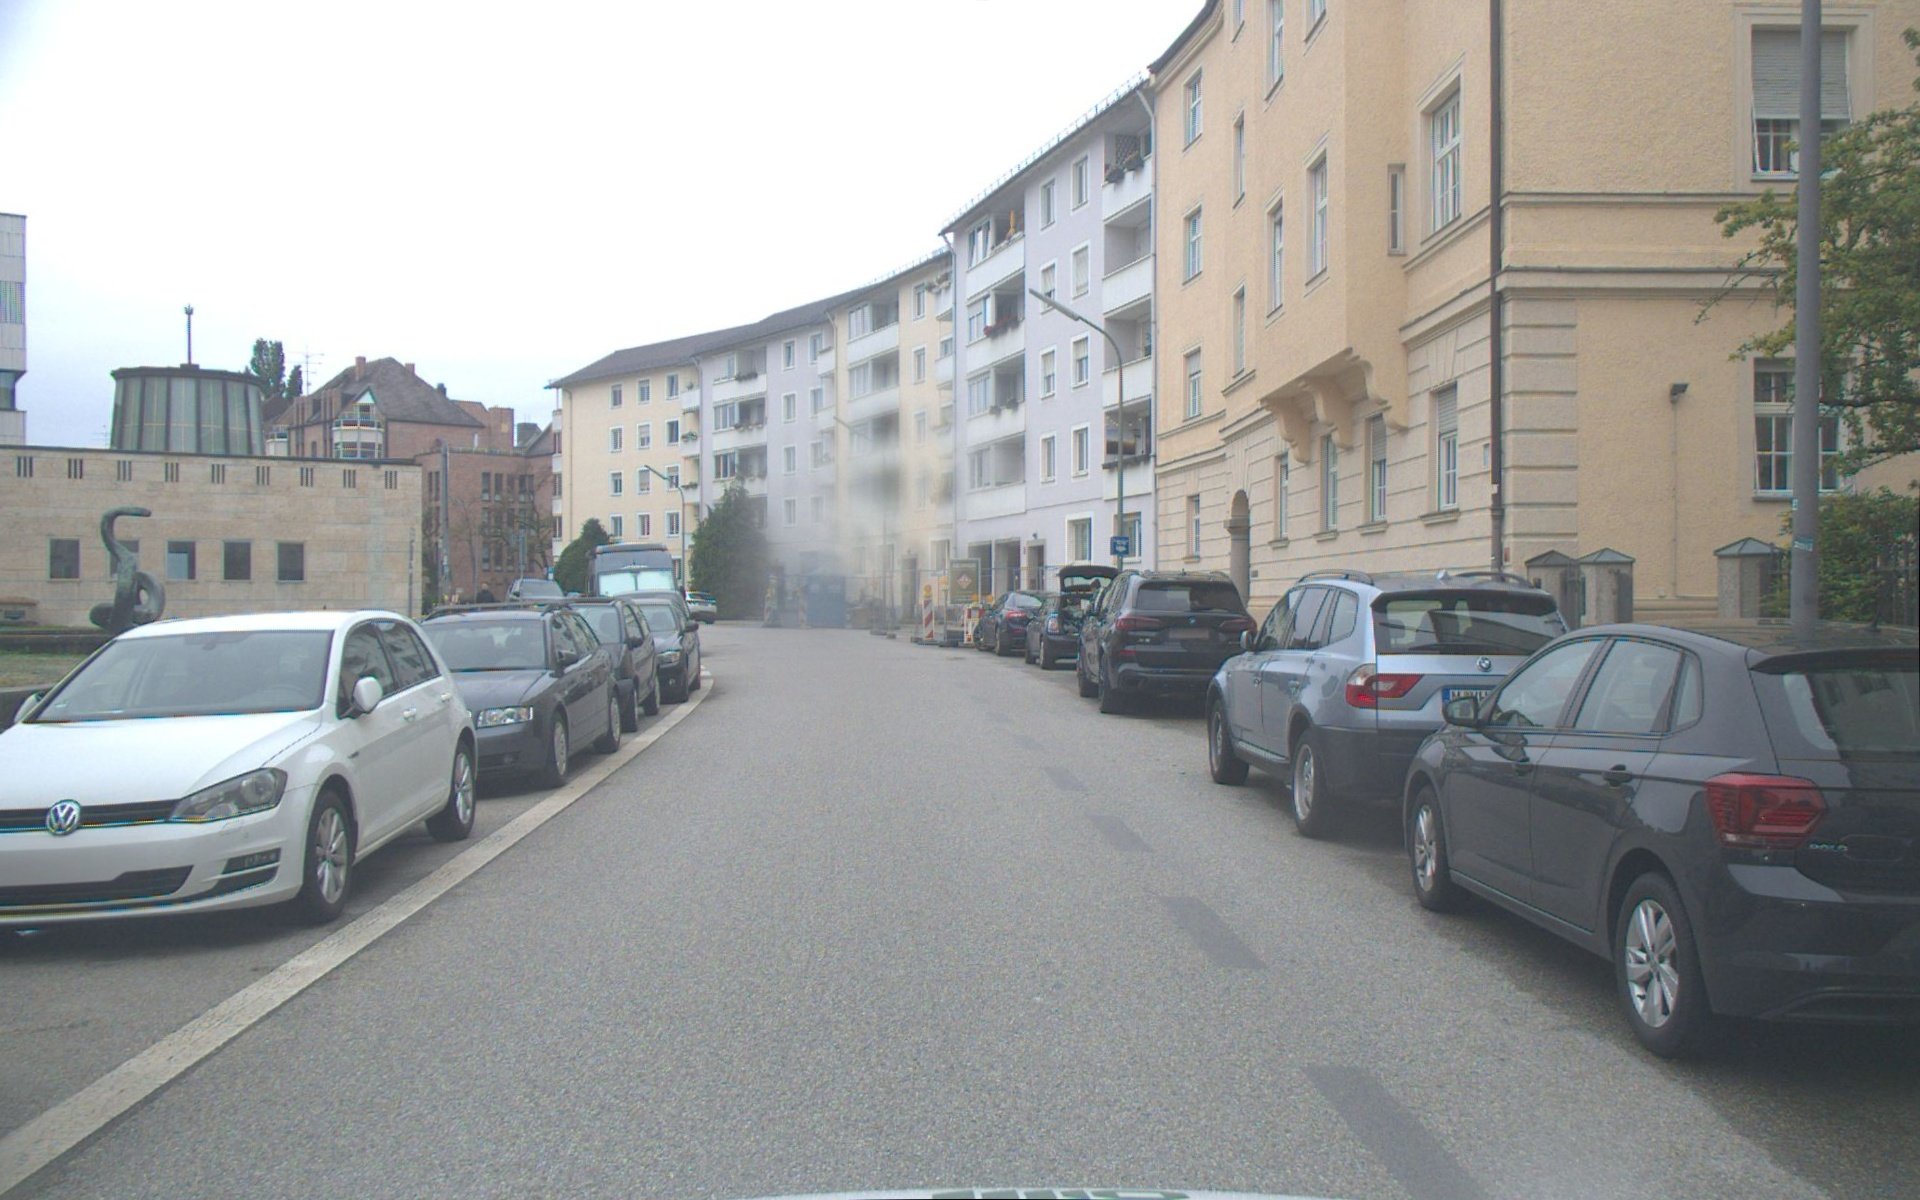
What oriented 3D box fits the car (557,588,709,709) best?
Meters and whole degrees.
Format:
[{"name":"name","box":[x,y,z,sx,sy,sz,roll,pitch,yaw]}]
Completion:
[{"name":"car","box":[-4.645,0.622,24.066,1.740,1.491,4.460,-2,1,-6]}]

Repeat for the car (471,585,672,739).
[{"name":"car","box":[-4.341,0.621,18.963,1.599,1.520,3.601,-3,1,-4]}]

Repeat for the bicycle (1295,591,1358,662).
[{"name":"bicycle","box":[5.869,0.407,26.599,0.491,1.067,2.138,-3,0,0]}]

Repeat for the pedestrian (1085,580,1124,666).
[{"name":"pedestrian","box":[2.662,0.417,30.505,0.616,1.555,0.578,1,0,-3]}]

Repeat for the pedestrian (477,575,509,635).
[{"name":"pedestrian","box":[-15.054,0.151,53.301,0.833,1.899,0.707,0,0,-30]}]

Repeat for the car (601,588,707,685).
[{"name":"car","box":[-5.138,0.577,28.019,1.490,1.491,2.883,-2,1,-6]}]

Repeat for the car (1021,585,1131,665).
[{"name":"car","box":[2.204,0.444,32.210,1.599,1.442,3.676,1,1,-5]}]

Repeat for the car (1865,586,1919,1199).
[{"name":"car","box":[3.290,0.741,1.876,1.838,1.475,4.676,1,1,-2]}]

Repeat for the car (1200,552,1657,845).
[{"name":"car","box":[3.049,0.558,11.841,1.809,1.692,4.496,0,0,-3]}]

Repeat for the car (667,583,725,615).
[{"name":"car","box":[-13.431,-0.055,84.041,1.808,1.601,3.966,0,0,-26]}]

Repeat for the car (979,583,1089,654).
[{"name":"car","box":[1.646,0.378,38.462,1.871,1.503,4.941,1,1,-6]}]

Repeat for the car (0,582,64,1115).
[{"name":"car","box":[-3.429,0.721,2.976,1.598,1.520,4.098,0,0,-4]}]

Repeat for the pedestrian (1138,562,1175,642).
[{"name":"pedestrian","box":[4.385,0.042,36.909,0.605,1.719,0.919,-3,0,-2]}]

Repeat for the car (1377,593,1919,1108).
[{"name":"car","box":[3.199,0.732,6.900,1.790,1.475,4.083,1,1,-1]}]

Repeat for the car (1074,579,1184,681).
[{"name":"car","box":[2.771,0.458,27.622,1.483,1.582,3.018,1,1,-1]}]

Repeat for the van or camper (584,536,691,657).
[{"name":"van or camper","box":[-7.719,-0.119,39.170,2.257,2.626,6.066,1,1,-13]}]

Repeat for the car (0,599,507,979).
[{"name":"car","box":[-3.776,0.784,8.891,1.707,1.447,4.291,-3,1,-4]}]

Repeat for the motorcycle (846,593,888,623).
[{"name":"motorcycle","box":[-3.987,0.330,70.663,0.920,1.242,2.487,0,0,-25]}]

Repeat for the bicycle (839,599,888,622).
[{"name":"bicycle","box":[-4.586,0.505,78.666,2.205,1.088,0.912,0,0,-26]}]

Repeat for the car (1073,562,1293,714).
[{"name":"car","box":[2.801,0.418,22.016,2.126,1.769,5.023,1,1,-1]}]

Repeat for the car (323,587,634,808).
[{"name":"car","box":[-3.927,0.691,14.210,1.599,1.520,4.272,-3,1,-4]}]
